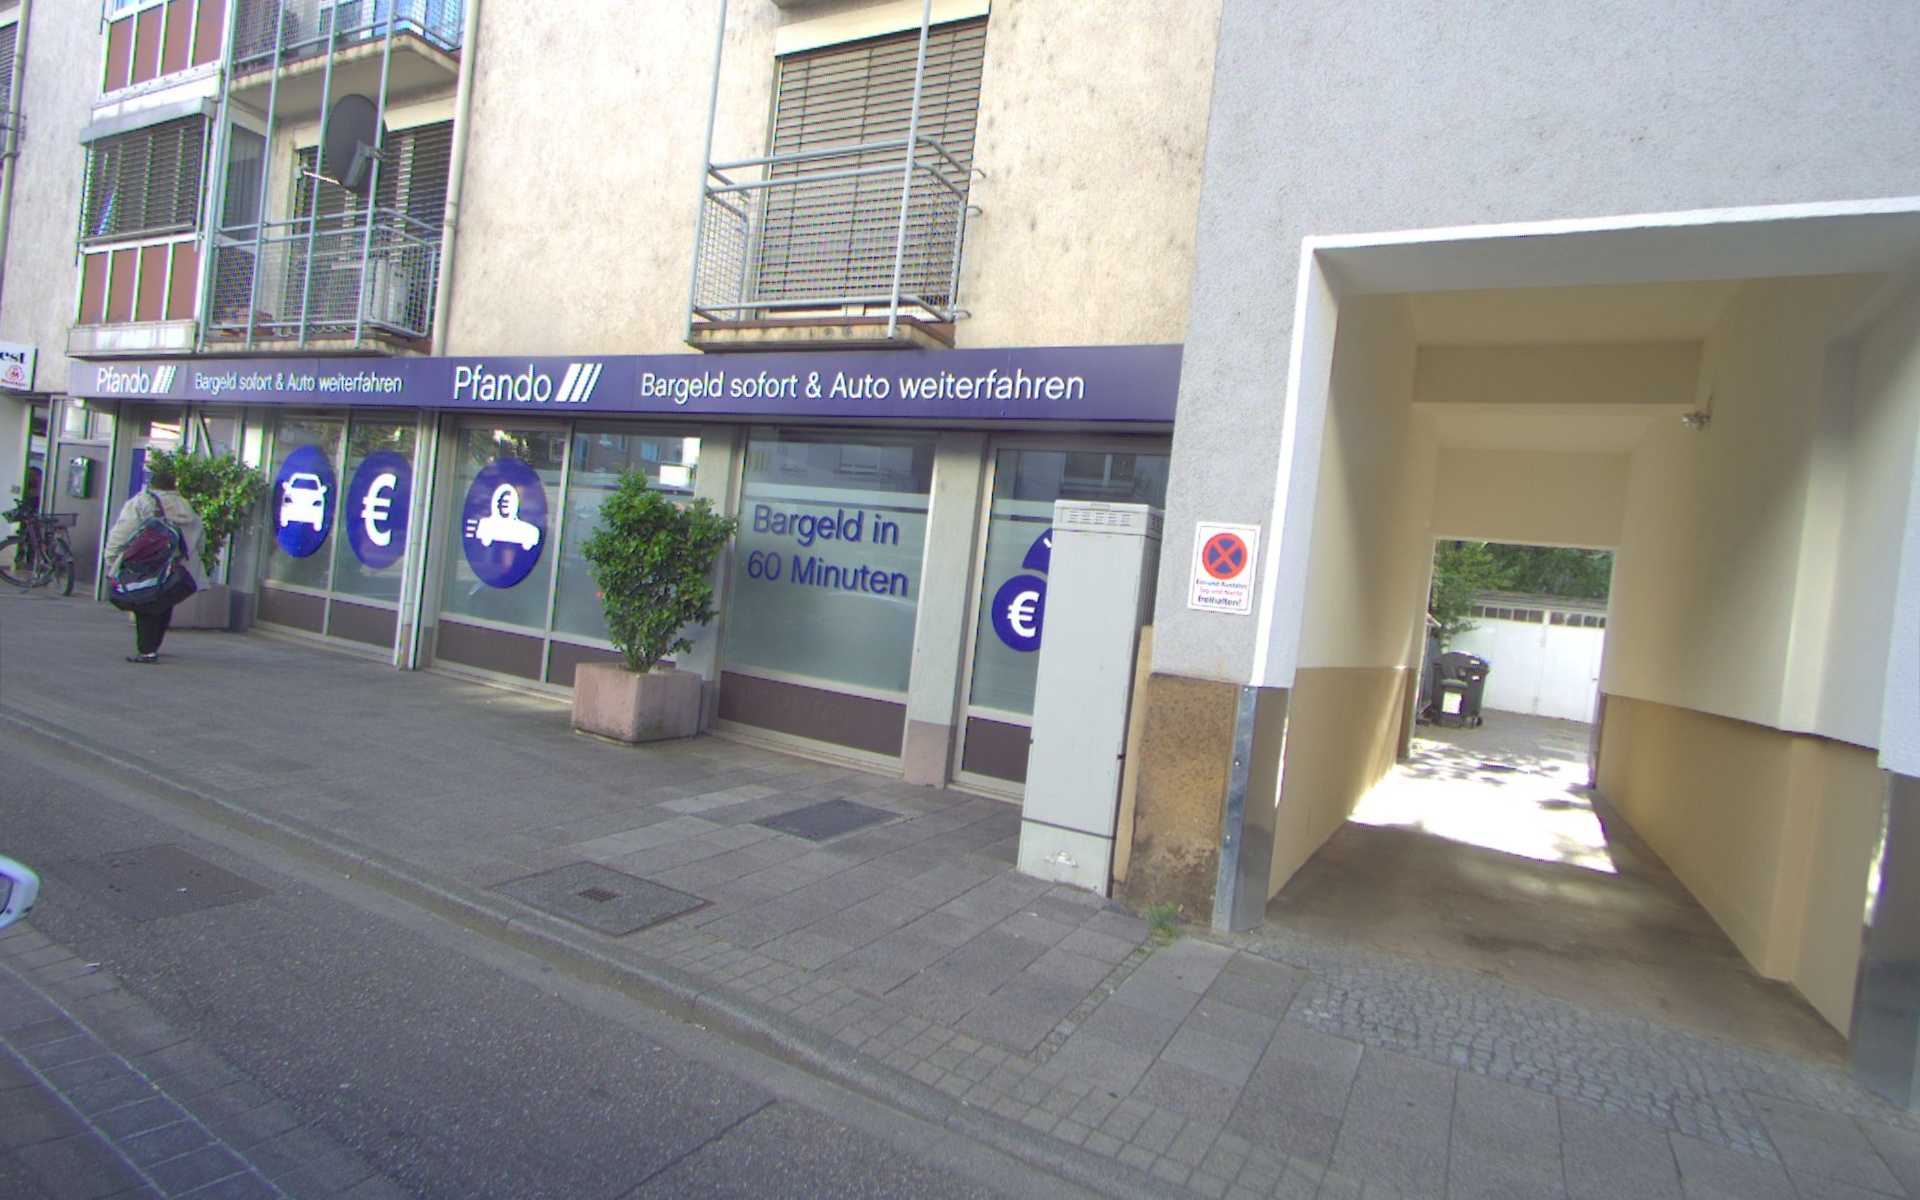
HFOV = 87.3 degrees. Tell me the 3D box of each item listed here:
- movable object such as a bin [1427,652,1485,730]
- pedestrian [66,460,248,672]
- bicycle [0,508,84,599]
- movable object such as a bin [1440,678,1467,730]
[{"bbox_3d":[9.854,1.782,19.962,0.873,1.411,0.758,7,2,28],"label":"movable object such as a bin"},{"bbox_3d":[-6.676,-0.267,8.382,0.738,1.611,0.827,6,-1,31],"label":"pedestrian"},{"bbox_3d":[-11.903,-0.623,12.828,1.678,1.010,0.543,6,-1,32],"label":"bicycle"},{"bbox_3d":[9.513,2.001,19.402,0.365,0.920,0.420,7,2,28],"label":"movable object such as a bin"}]
